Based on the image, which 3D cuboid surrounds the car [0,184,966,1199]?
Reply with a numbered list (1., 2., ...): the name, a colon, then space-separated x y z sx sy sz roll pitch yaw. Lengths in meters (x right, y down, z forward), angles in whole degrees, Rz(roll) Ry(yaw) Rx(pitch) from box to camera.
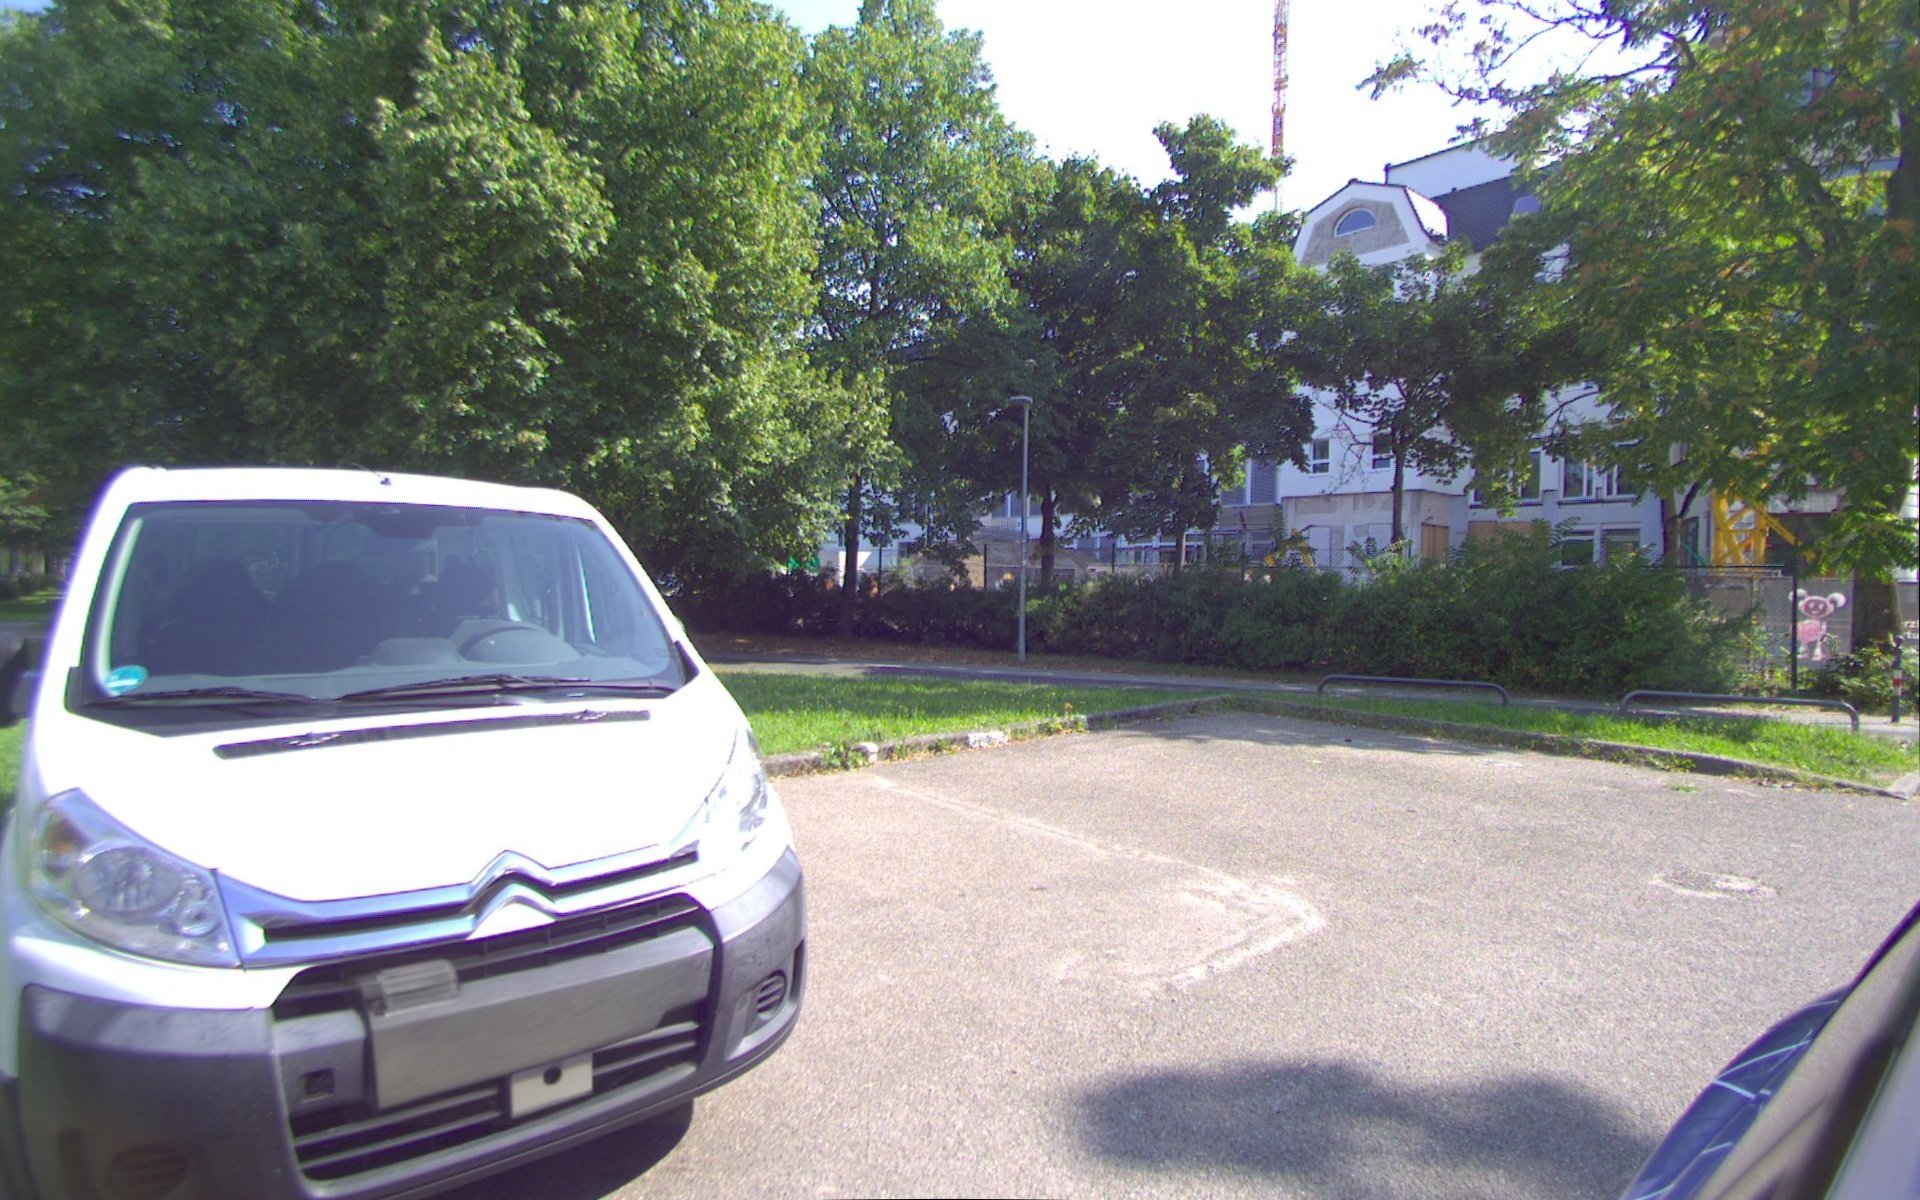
1. car: -2.297 0.337 3.914 2.007 1.945 4.970 -1 1 -38
